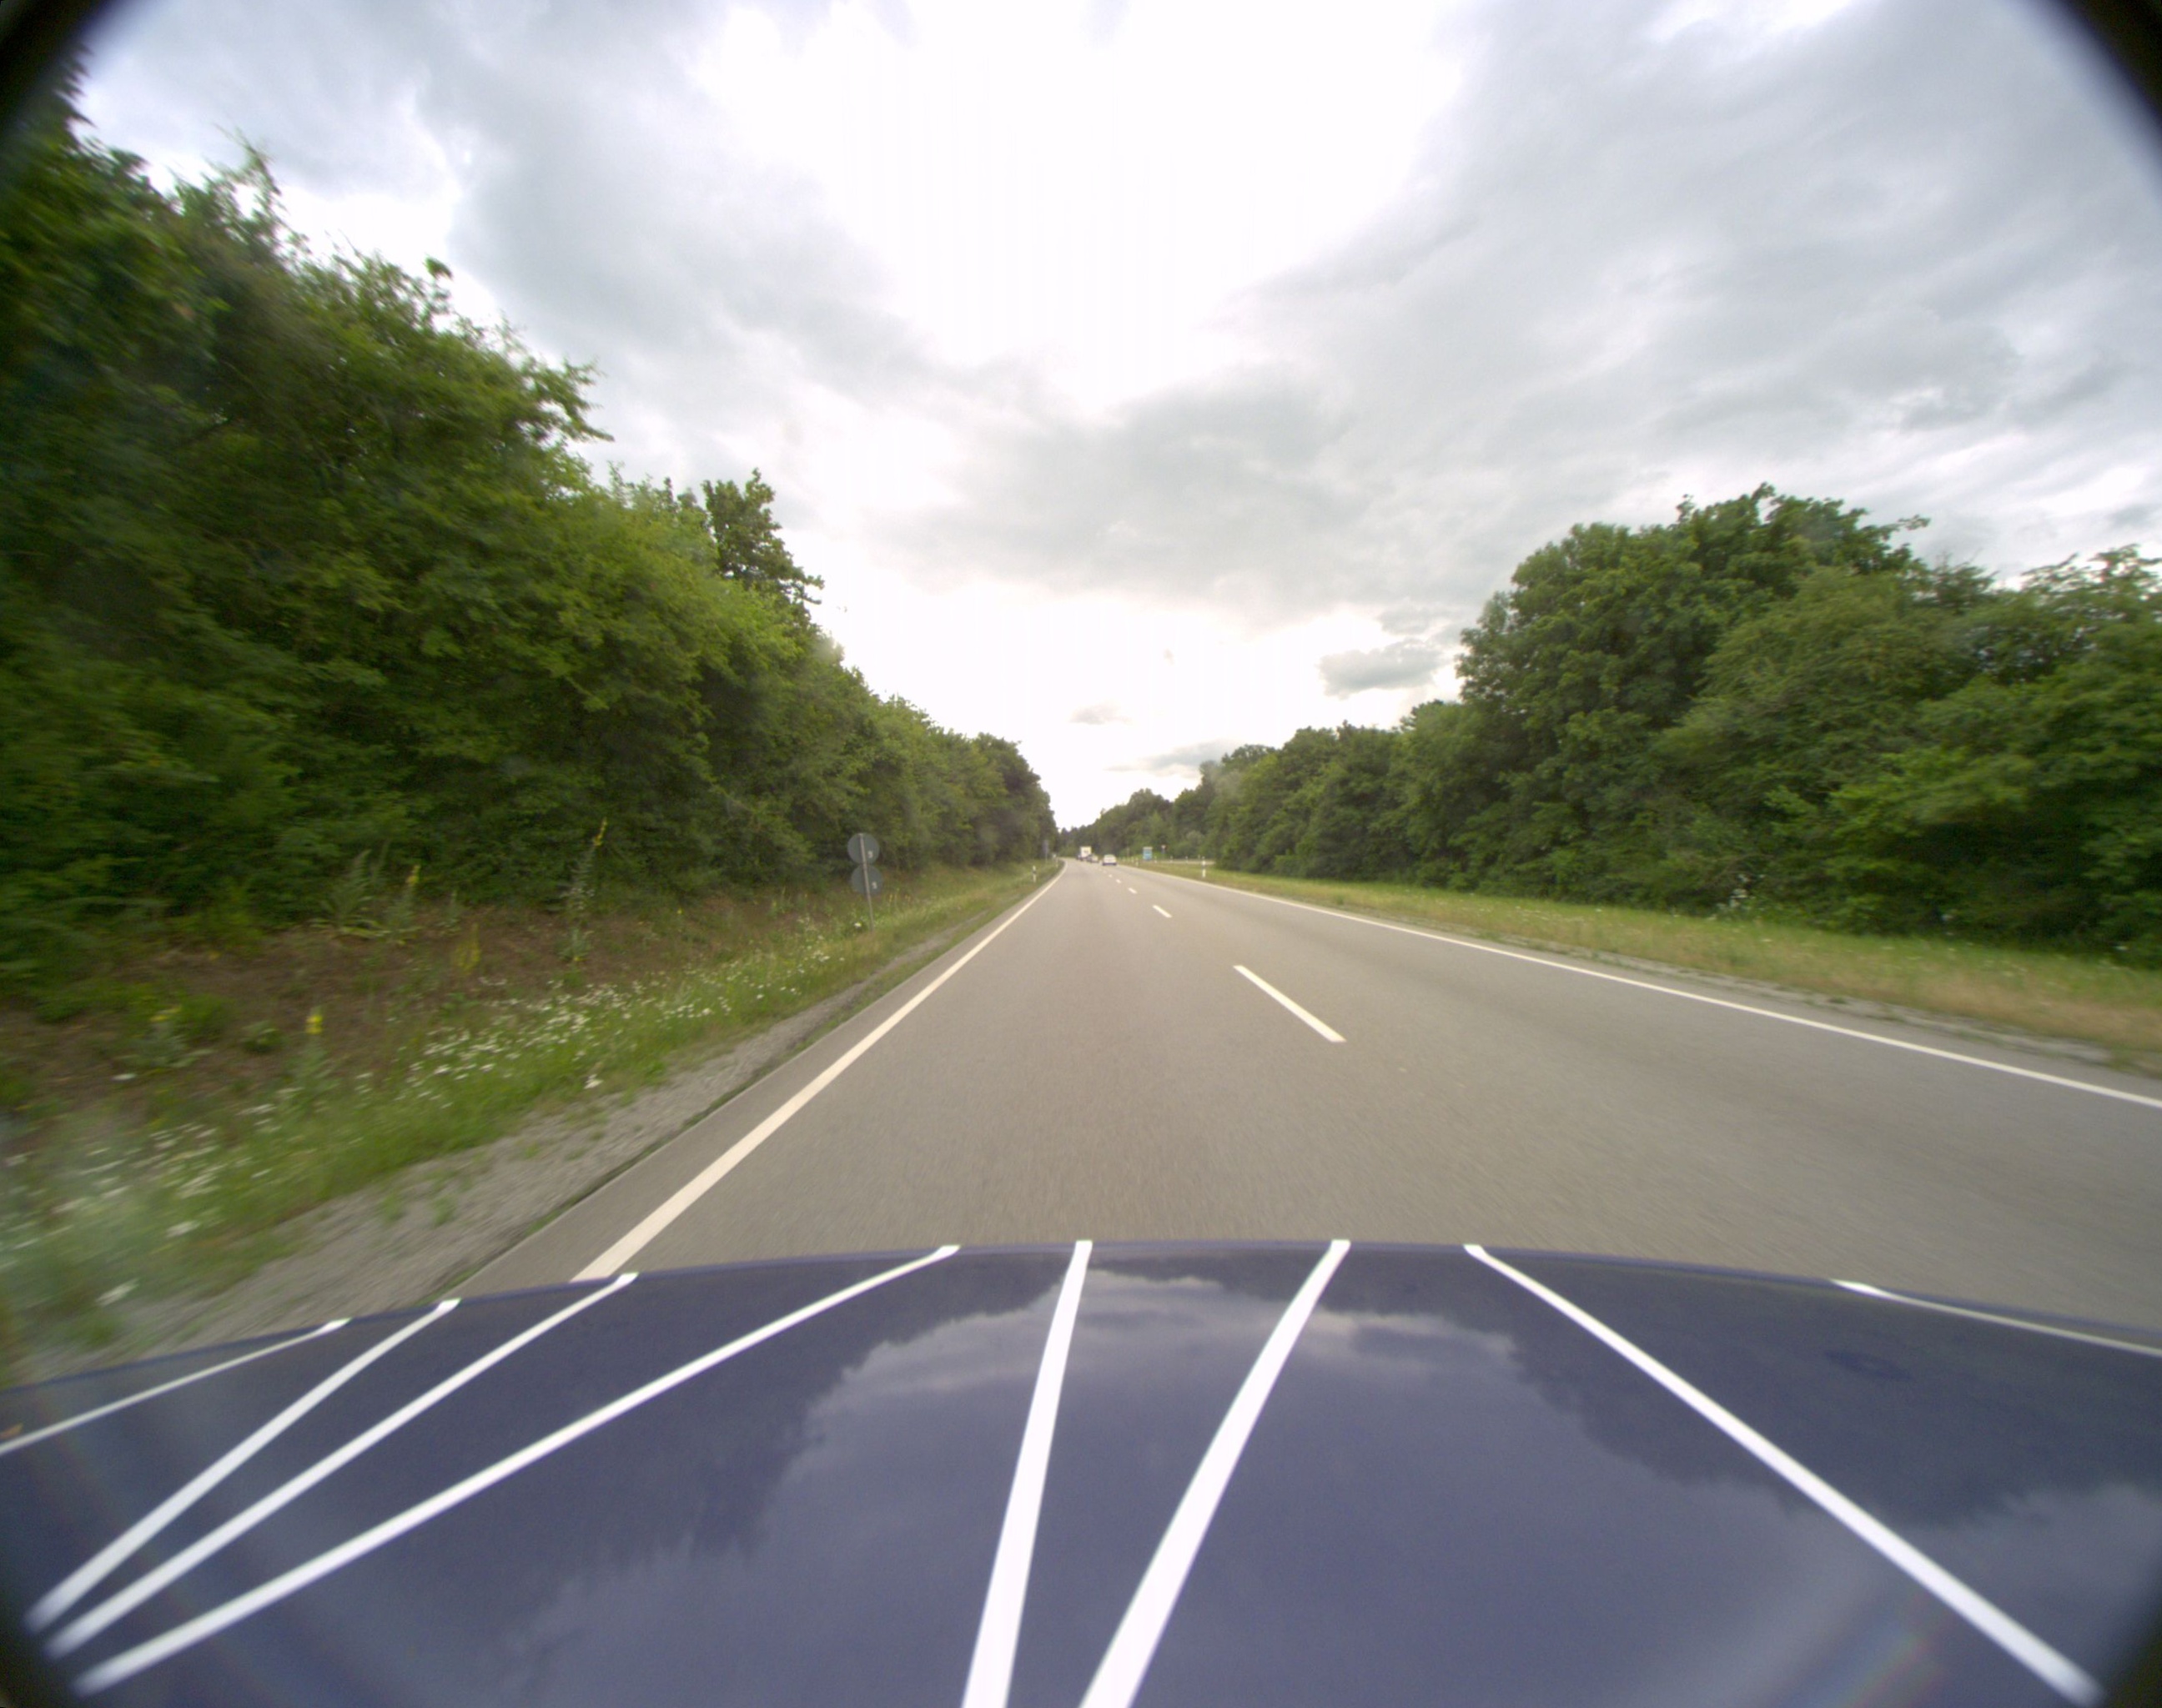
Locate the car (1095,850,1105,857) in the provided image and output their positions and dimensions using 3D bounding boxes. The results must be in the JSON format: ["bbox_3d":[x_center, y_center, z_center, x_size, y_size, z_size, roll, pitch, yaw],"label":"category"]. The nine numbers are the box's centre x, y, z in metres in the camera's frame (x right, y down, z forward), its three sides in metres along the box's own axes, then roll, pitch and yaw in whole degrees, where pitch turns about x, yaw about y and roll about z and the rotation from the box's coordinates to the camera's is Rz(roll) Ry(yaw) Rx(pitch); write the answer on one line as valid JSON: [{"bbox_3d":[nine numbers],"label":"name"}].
[{"bbox_3d":[3.709,-0.122,151.131,1.730,1.426,4.502,-2,1,-1],"label":"car"}]

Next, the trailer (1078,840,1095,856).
[{"bbox_3d":[1.461,-1.701,207.047,3.213,4.043,14.265,-2,1,-4],"label":"trailer"}]

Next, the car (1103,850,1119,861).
[{"bbox_3d":[4.352,0.222,111.056,1.969,1.565,5.451,-2,1,0],"label":"car"}]

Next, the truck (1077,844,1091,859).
[{"bbox_3d":[0.889,-0.666,215.235,3.199,4.039,9.571,-2,1,-4],"label":"truck"}]
